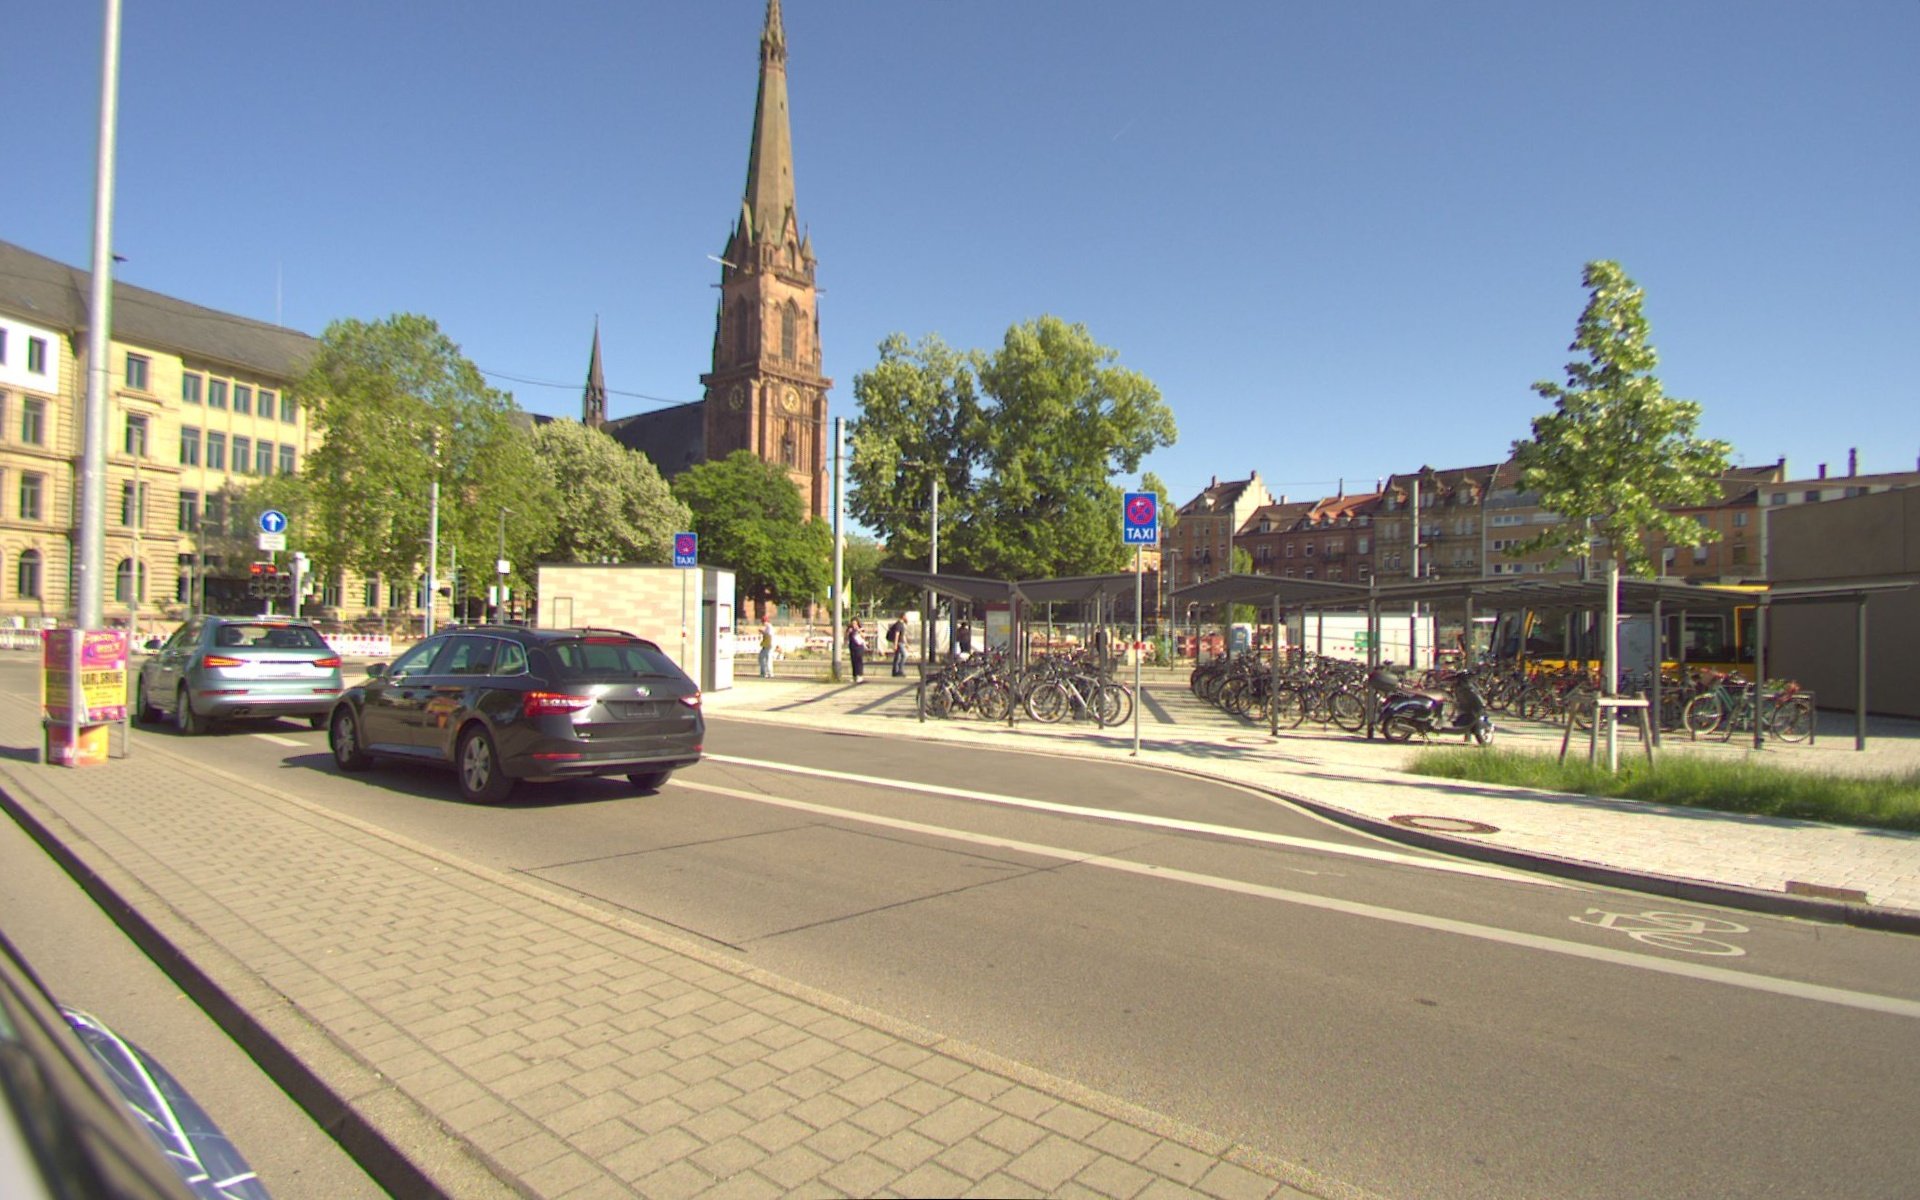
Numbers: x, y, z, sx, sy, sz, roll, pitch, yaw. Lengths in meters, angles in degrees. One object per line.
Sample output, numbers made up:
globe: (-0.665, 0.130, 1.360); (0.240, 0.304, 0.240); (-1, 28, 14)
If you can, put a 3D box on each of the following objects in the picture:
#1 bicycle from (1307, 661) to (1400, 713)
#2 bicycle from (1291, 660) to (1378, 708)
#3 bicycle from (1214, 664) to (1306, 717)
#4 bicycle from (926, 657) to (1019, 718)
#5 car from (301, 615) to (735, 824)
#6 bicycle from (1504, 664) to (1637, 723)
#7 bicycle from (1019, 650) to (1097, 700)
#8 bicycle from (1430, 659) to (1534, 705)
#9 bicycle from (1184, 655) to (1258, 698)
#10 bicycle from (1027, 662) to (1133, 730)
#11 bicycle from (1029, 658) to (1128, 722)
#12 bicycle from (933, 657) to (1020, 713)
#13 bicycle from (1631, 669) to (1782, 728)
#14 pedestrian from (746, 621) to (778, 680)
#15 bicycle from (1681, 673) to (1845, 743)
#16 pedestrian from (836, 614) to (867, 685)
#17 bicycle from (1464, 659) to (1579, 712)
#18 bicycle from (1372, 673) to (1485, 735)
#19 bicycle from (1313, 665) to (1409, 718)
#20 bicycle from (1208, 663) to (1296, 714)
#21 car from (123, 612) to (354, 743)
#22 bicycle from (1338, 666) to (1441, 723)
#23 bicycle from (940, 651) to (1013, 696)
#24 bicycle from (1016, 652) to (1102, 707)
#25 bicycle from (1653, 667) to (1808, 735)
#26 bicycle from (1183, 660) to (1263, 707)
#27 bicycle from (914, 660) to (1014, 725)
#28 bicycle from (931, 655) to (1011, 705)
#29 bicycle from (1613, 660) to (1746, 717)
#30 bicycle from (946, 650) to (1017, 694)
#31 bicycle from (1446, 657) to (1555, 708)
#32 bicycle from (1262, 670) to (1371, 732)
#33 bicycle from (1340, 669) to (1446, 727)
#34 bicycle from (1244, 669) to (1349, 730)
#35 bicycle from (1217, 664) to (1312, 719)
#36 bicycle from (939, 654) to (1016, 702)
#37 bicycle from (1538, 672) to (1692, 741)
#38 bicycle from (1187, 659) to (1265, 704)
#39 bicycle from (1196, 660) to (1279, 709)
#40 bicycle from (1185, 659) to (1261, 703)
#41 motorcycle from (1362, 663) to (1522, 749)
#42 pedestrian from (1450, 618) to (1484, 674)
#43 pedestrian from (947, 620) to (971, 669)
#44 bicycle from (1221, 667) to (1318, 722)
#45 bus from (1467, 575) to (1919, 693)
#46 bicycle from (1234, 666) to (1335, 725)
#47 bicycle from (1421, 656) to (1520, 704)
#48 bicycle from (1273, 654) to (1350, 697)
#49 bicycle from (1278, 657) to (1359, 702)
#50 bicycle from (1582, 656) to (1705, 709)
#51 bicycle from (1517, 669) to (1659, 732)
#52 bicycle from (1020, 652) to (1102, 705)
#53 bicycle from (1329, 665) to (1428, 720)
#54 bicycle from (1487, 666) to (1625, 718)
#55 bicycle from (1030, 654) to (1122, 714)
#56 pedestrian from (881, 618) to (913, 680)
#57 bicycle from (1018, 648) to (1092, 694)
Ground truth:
bicycle: (7.856, 1.731, 20.221); (1.661, 0.980, 0.406); (-1, 0, 3)
bicycle: (7.987, 1.790, 21.615); (1.661, 0.980, 0.406); (-1, 0, 3)
bicycle: (5.900, 1.781, 19.950); (1.661, 0.980, 0.406); (1, 0, 3)
bicycle: (0.230, 1.597, 18.593); (1.663, 1.006, 0.406); (2, 0, 8)
car: (-4.375, 0.967, 9.631); (4.780, 1.516, 1.795); (-1, -4, 40)
bicycle: (11.321, 1.734, 18.804); (2.048, 1.045, 0.533); (-1, 0, 8)
bicycle: (2.271, 1.732, 23.490); (1.755, 1.083, 0.406); (1, 0, 6)
bicycle: (12.030, 1.880, 23.366); (2.048, 1.045, 0.533); (-1, -4, 8)
bicycle: (6.255, 1.837, 24.304); (1.661, 0.980, 0.406); (1, -5, 3)
bicycle: (2.021, 1.606, 17.084); (1.753, 1.083, 0.406); (1, -3, 6)
bicycle: (2.138, 1.617, 18.329); (1.753, 1.083, 0.406); (1, 0, 6)
bicycle: (0.327, 1.664, 19.937); (1.663, 1.006, 0.406); (2, 0, 8)
bicycle: (13.478, 1.775, 18.321); (2.117, 1.005, 0.690); (-1, 0, 7)
pedestrian: (-5.552, 1.403, 28.371); (0.695, 1.635, 0.618); (0, -2, 10)
bicycle: (12.766, 1.715, 16.130); (2.048, 1.045, 0.533); (-1, 0, 8)
pedestrian: (-2.907, 1.312, 27.233); (0.614, 1.874, 0.699); (0, -2, 14)
bicycle: (11.775, 1.796, 21.256); (2.048, 1.045, 0.533); (-1, 2, 8)
bicycle: (7.766, 1.724, 16.813); (1.661, 0.980, 0.406); (-1, 0, 3)
bicycle: (7.715, 1.763, 19.521); (1.661, 0.980, 0.406); (-1, 0, 3)
bicycle: (5.924, 1.785, 20.556); (1.661, 0.980, 0.406); (1, -5, 3)
car: (-10.417, 1.032, 14.496); (4.256, 1.594, 1.768); (-1, -4, 42)
bicycle: (7.822, 1.723, 18.452); (1.661, 0.980, 0.406); (-1, 0, 3)
bicycle: (0.392, 1.702, 23.654); (1.663, 1.006, 0.406); (0, 0, 8)
bicycle: (2.051, 1.643, 20.965); (1.755, 1.083, 0.406); (1, 0, 6)
bicycle: (12.987, 1.697, 17.107); (2.030, 1.087, 0.604); (-1, 0, 7)
bicycle: (5.785, 1.838, 22.288); (1.661, 0.980, 0.406); (1, -5, 3)
bicycle: (0.066, 1.574, 17.375); (1.663, 1.006, 0.406); (2, 0, 8)
bicycle: (0.228, 1.676, 21.396); (1.663, 1.006, 0.406); (0, 0, 8)
bicycle: (13.851, 1.700, 19.517); (2.048, 1.045, 0.533); (-1, 0, 8)
bicycle: (0.516, 1.702, 24.179); (1.663, 1.006, 0.406); (0, 0, 8)
bicycle: (11.865, 1.802, 22.247); (2.048, 1.045, 0.533); (-1, 2, 8)
bicycle: (5.932, 1.685, 16.881); (1.661, 0.980, 0.406); (-1, 0, 3)
bicycle: (7.642, 1.725, 17.884); (1.661, 0.980, 0.406); (-1, 0, 3)
bicycle: (5.792, 1.710, 17.455); (1.661, 0.980, 0.406); (1, 0, 3)
bicycle: (5.813, 1.738, 19.367); (1.661, 0.980, 0.406); (1, 0, 3)
bicycle: (0.383, 1.705, 22.277); (1.663, 1.006, 0.406); (0, 0, 8)
bicycle: (10.571, 1.711, 16.381); (2.048, 1.045, 0.533); (-1, 0, 8)
bicycle: (6.052, 1.860, 23.043); (1.661, 0.980, 0.406); (1, -5, 3)
bicycle: (5.924, 1.806, 21.632); (1.661, 0.980, 0.406); (1, -5, 3)
bicycle: (6.136, 1.882, 23.616); (1.661, 0.980, 0.406); (1, -5, 3)
motorcycle: (7.192, 1.571, 15.152); (2.059, 1.228, 0.569); (-1, -2, 3)
pedestrian: (17.713, 1.595, 35.383); (0.793, 1.931, 0.769); (0, -2, 4)
pedestrian: (-0.029, 1.713, 38.963); (0.610, 1.874, 0.703); (2, -2, -39)
bicycle: (5.727, 1.750, 18.760); (1.661, 0.980, 0.406); (-1, 0, 3)
bus: (22.003, 0.935, 28.633); (13.462, 3.095, 2.859); (0, -2, 6)
bicycle: (5.814, 1.710, 18.180); (1.661, 0.980, 0.406); (1, 0, 3)
bicycle: (12.299, 1.920, 24.421); (2.048, 1.045, 0.533); (1, 3, 8)
bicycle: (8.290, 1.786, 23.907); (1.661, 0.980, 0.406); (-1, 0, 3)
bicycle: (8.072, 1.789, 22.830); (1.661, 0.980, 0.406); (-1, 0, 3)
bicycle: (14.077, 1.697, 20.869); (2.048, 1.045, 0.533); (-1, 0, 8)
bicycle: (10.917, 1.739, 17.639); (2.048, 1.045, 0.533); (-1, 0, 8)
bicycle: (2.192, 1.695, 22.020); (1.755, 1.083, 0.406); (1, 0, 6)
bicycle: (7.841, 1.731, 19.005); (1.661, 0.980, 0.406); (-1, 0, 3)
bicycle: (11.613, 1.799, 19.782); (2.208, 0.951, 0.685); (-1, 0, 7)
bicycle: (2.234, 1.621, 19.574); (1.755, 1.083, 0.406); (1, 0, 6)
pedestrian: (-1.799, 1.389, 28.852); (0.823, 1.740, 0.620); (0, -2, 4)
bicycle: (2.313, 1.724, 24.670); (1.755, 1.083, 0.406); (1, 0, 6)
